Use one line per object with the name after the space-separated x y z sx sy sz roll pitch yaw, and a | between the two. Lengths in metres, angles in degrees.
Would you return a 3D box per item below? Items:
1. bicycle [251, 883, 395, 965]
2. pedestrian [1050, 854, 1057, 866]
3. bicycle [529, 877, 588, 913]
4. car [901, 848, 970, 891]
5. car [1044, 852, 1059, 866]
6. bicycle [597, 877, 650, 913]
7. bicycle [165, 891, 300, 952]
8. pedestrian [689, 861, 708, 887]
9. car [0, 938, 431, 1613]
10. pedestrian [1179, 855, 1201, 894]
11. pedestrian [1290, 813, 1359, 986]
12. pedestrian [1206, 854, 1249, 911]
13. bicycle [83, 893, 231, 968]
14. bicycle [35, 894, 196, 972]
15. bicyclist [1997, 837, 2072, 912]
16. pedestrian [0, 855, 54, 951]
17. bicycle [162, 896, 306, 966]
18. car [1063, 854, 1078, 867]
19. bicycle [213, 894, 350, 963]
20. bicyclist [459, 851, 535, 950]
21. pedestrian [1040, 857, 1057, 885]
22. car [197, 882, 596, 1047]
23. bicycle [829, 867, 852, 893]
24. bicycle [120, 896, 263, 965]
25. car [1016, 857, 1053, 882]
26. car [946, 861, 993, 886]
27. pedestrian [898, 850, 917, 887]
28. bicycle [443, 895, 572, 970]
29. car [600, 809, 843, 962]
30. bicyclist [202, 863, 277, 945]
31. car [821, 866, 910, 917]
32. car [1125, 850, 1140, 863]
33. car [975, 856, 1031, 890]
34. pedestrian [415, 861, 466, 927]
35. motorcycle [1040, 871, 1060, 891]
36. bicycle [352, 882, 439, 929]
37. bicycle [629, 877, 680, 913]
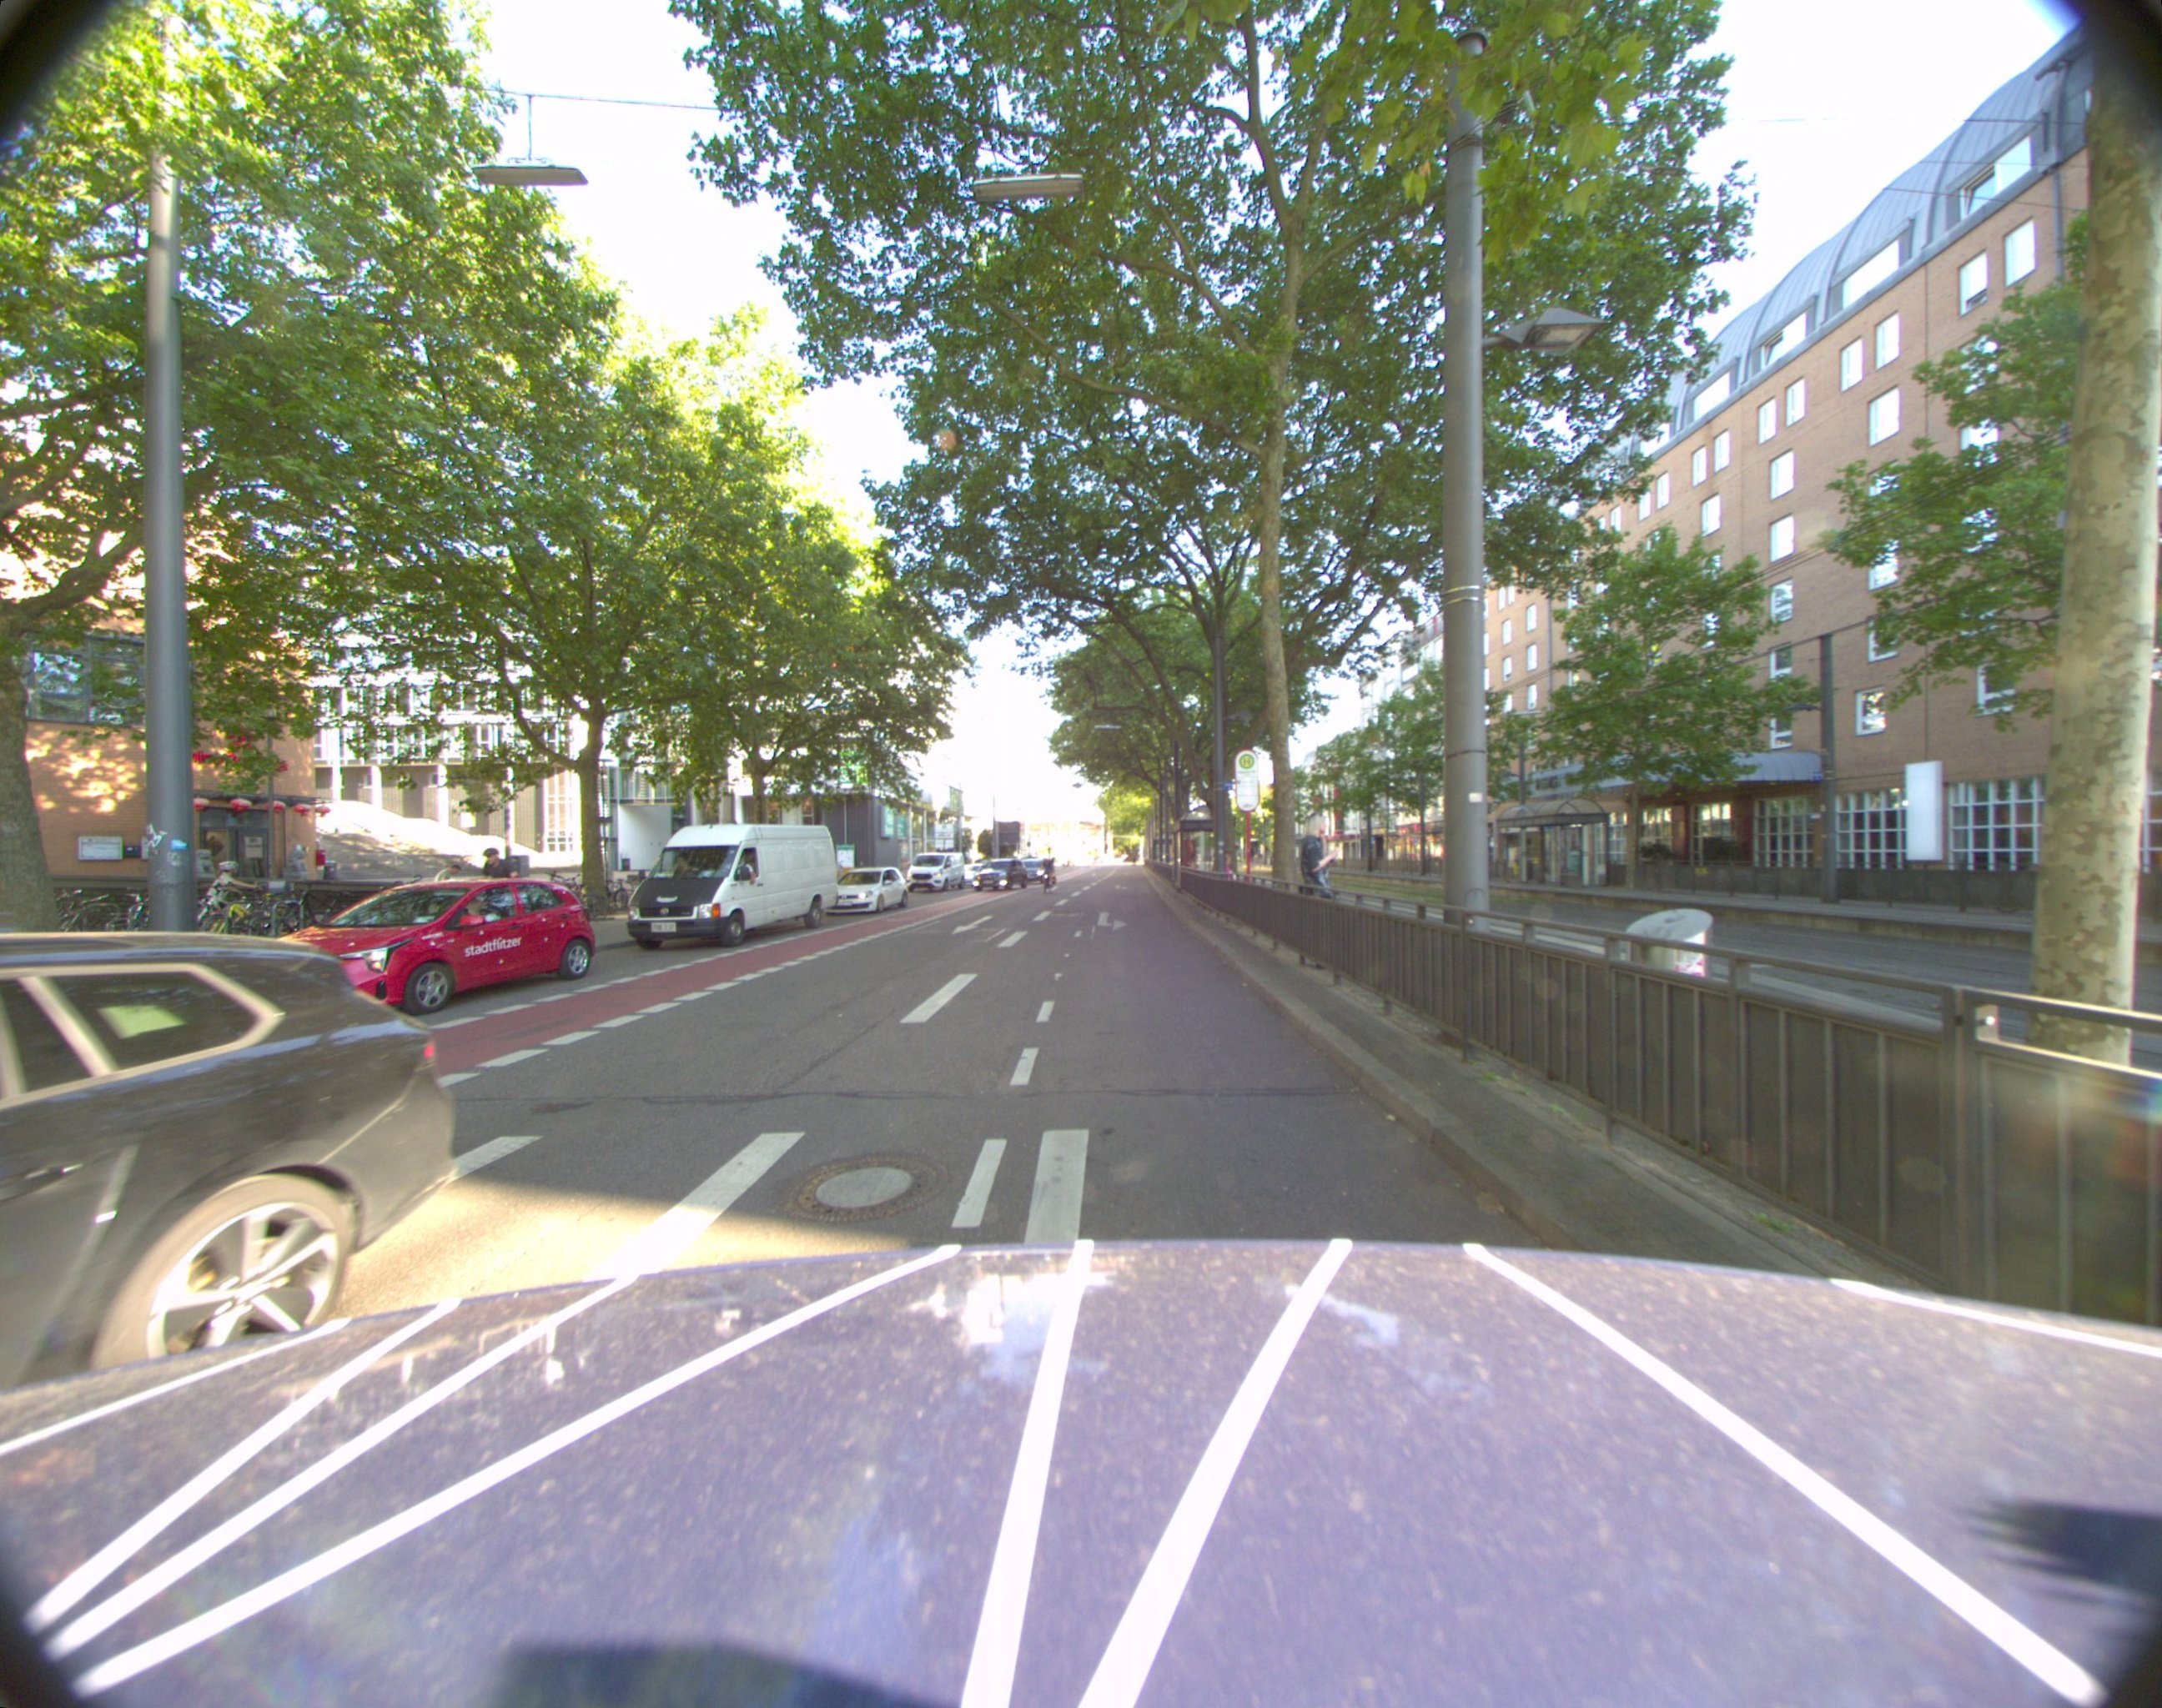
-13.096 1.170 13.221 0.597 1.257 1.876 0 0 1 | bicycle
-3.638 0.785 99.990 0.753 1.565 0.912 -1 1 6 | pedestrian
-16.272 1.263 23.695 0.597 1.041 1.655 0 0 4 | bicycle
-7.600 0.767 40.324 2.127 2.121 5.292 0 0 6 | car
-4.292 0.697 111.110 1.999 1.856 3.999 -2 1 -1 | car
-14.708 1.305 24.488 0.597 1.041 1.655 0 0 4 | bicycle
-17.269 1.356 15.507 1.780 1.119 0.567 -1 1 -18 | bicycle
-21.429 1.108 42.584 0.712 1.447 0.601 0 1 4 | pedestrian
-3.422 1.065 0.693 1.827 1.416 4.346 -2 0 1 | car
3.994 0.744 27.836 0.735 1.379 0.640 -2 1 6 | pedestrian
2.780 0.496 8.744 0.511 1.889 0.760 -2 1 2 | pedestrian
3.768 0.728 19.617 0.979 1.392 0.664 -2 1 6 | pedestrian
-15.892 1.281 13.137 0.503 1.130 1.655 0 0 1 | bicycle
-16.458 1.311 13.020 0.479 1.153 1.694 0 0 5 | bicycle
23.175 0.496 18.490 0.752 1.775 0.852 0 1 4 | bicyclist
-19.991 0.892 13.983 0.788 1.747 1.020 0 1 6 | pedestrian
-14.540 1.288 13.112 0.597 1.026 1.655 0 0 1 | bicycle
-1.479 0.920 112.115 1.998 1.681 3.999 -2 1 1 | car
-13.774 1.247 13.161 0.597 1.026 1.655 0 0 1 | bicycle
-10.158 0.786 13.238 0.752 1.678 0.715 0 1 4 | bicyclist
-1.447 0.769 34.207 0.665 1.218 0.775 0 1 4 | pedestrian
-7.954 1.165 9.357 1.562 1.455 3.621 -2 0 1 | car
-11.395 1.233 35.979 0.514 1.151 1.540 -1 0 3 | bicycle
-15.314 1.290 13.146 0.503 1.026 1.655 0 0 1 | bicycle
-3.036 0.988 50.200 1.759 1.565 4.002 0 0 6 | car
-6.789 1.187 46.507 1.784 1.411 4.024 0 0 7 | car
-9.691 0.817 42.444 0.808 2.002 0.665 -2 1 7 | pedestrian
-10.069 1.338 13.458 0.551 1.114 2.127 0 0 3 | bicycle
-7.566 0.562 17.092 1.998 2.708 6.562 -2 0 2 | car
-17.181 1.003 15.529 0.822 1.607 0.563 -1 1 -18 | bicyclist
-7.024 1.178 25.161 1.671 1.455 3.869 0 0 3 | car
7.526 0.372 112.161 1.958 1.760 3.999 -2 1 1 | car
-4.012 0.948 39.720 1.784 1.628 4.025 0 0 12 | car
-16.206 0.996 19.242 0.718 1.622 0.636 0 1 7 | pedestrian
-1.399 1.208 34.578 0.667 0.843 2.223 0 0 4 | motorcycle
-17.715 1.309 19.690 0.596 1.119 1.656 0 0 9 | bicycle
-13.735 1.300 24.490 0.597 1.041 1.655 0 0 4 | bicycle
